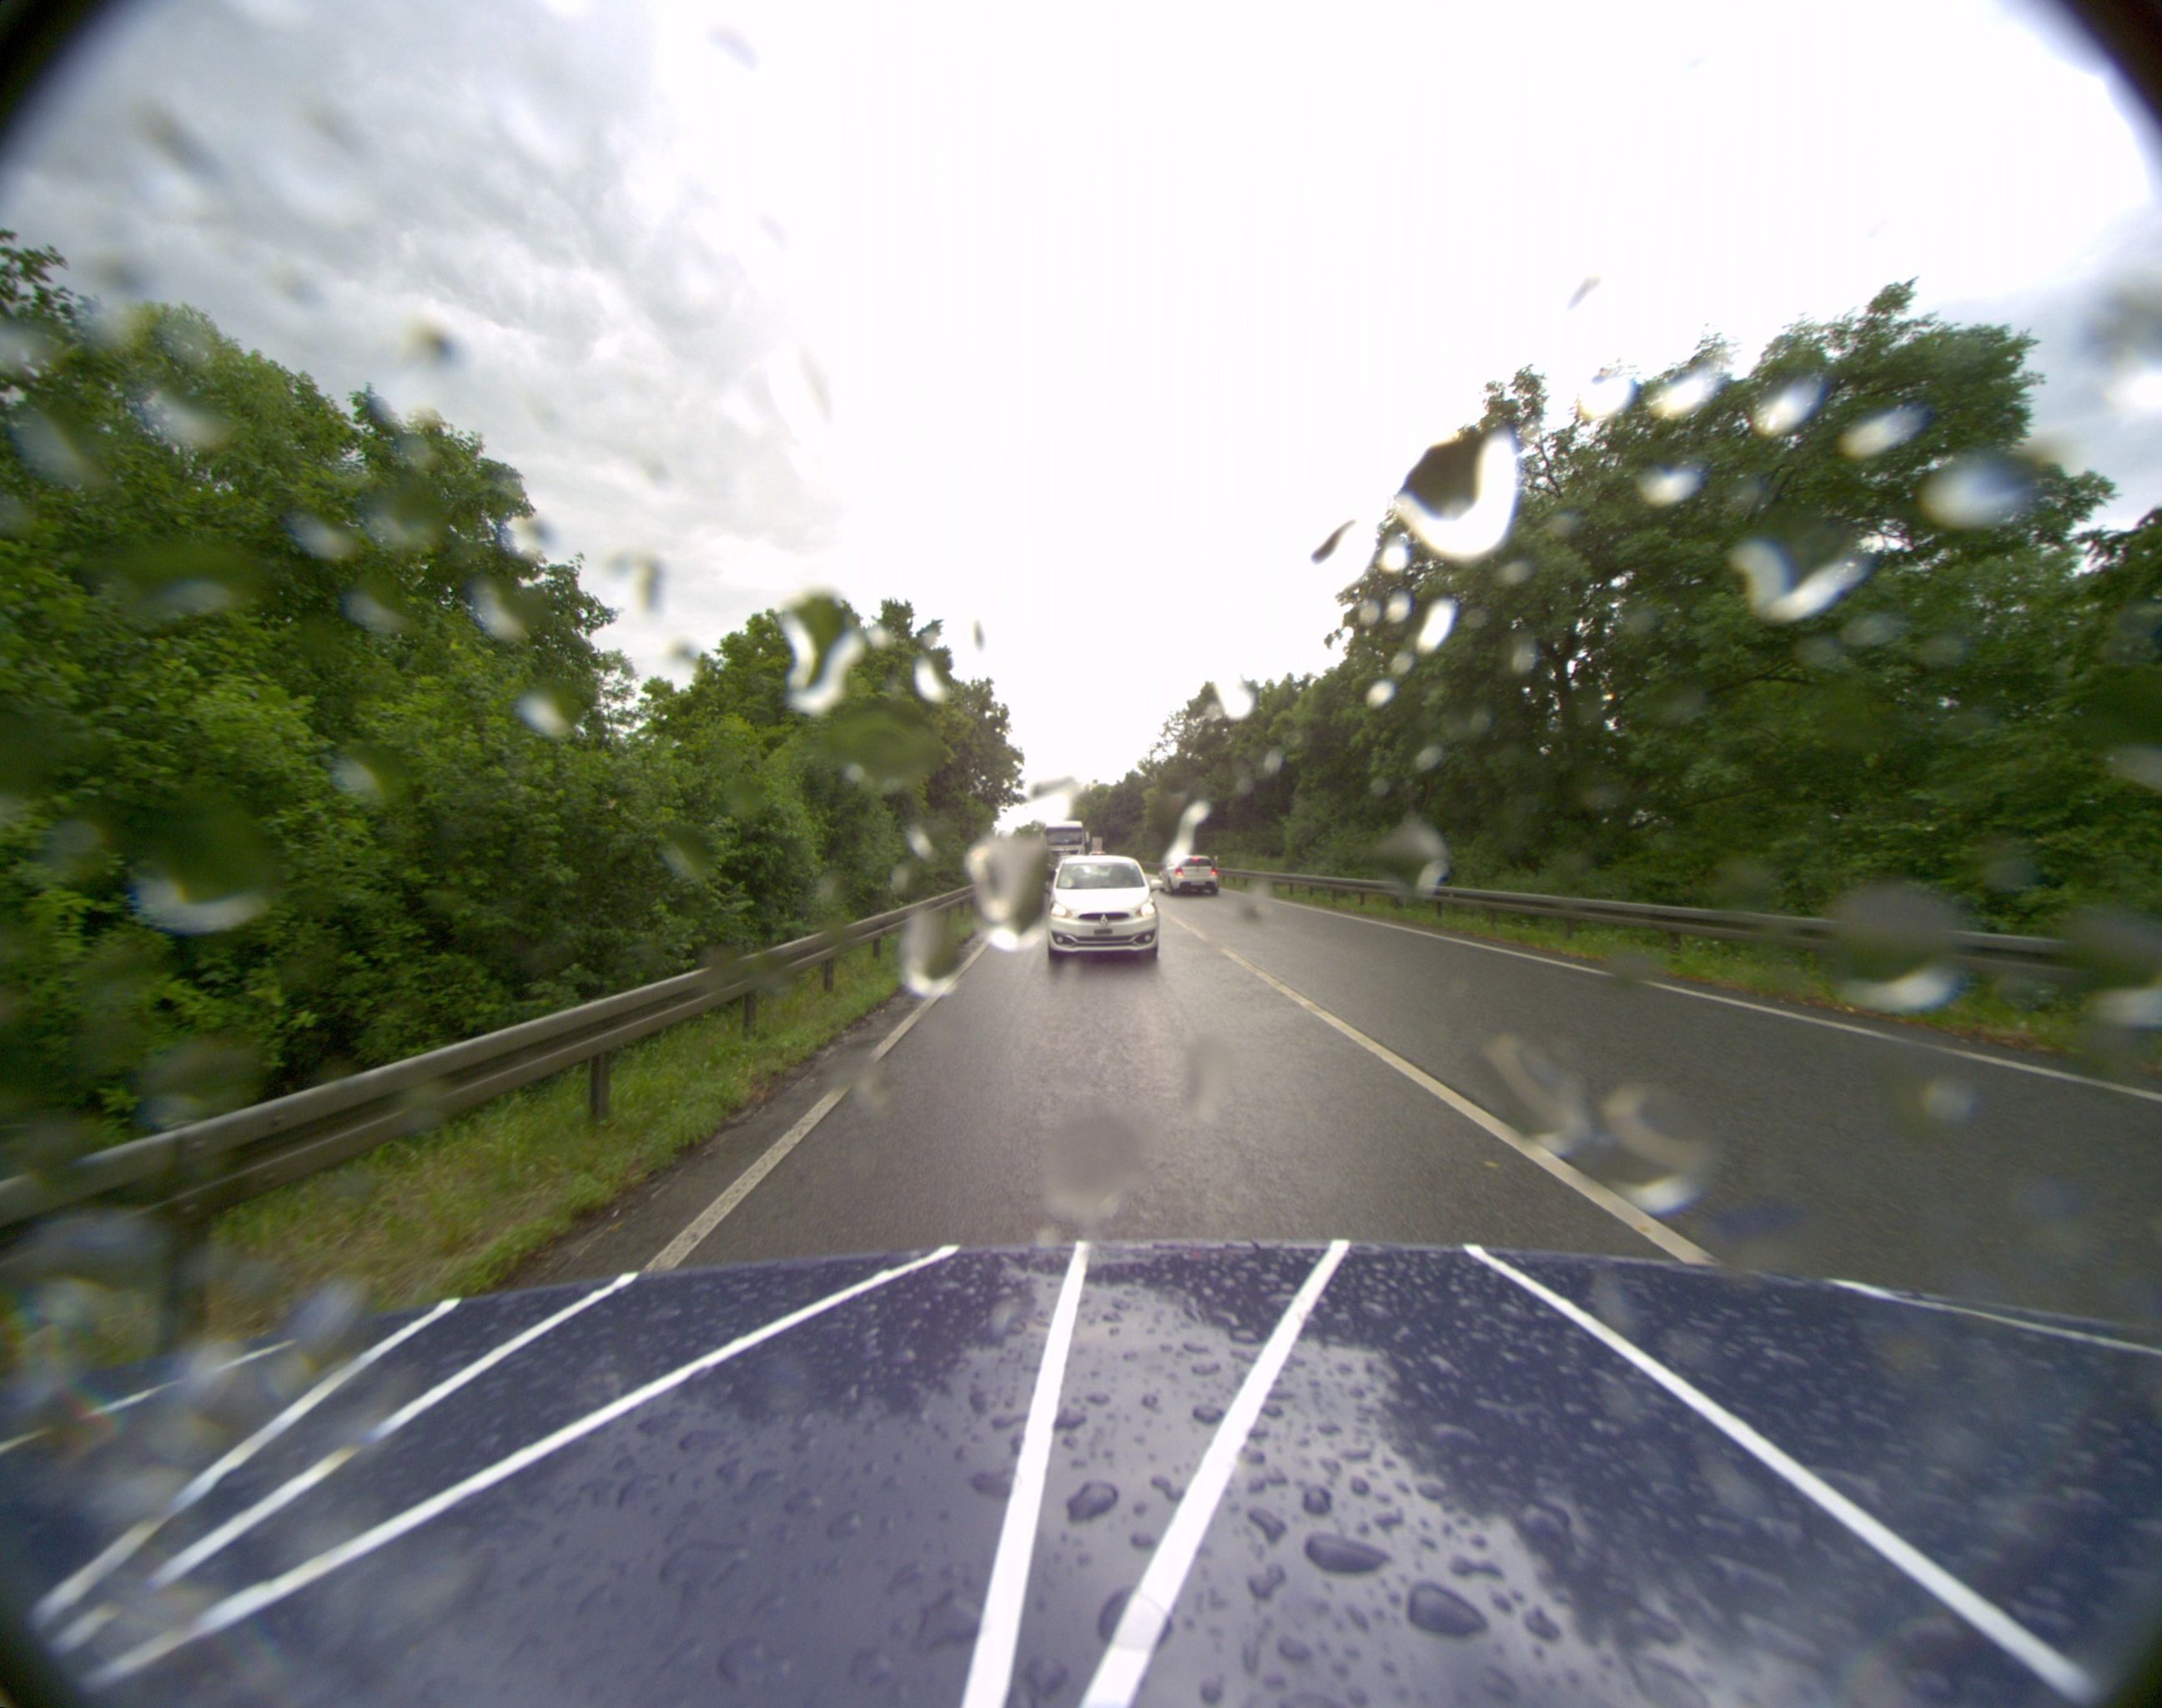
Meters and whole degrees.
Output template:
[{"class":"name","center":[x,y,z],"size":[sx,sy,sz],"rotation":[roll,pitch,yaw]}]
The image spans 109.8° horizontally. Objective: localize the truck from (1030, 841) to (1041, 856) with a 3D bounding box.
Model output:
[{"class":"truck","center":[-8.990,-1.029,149.341],"size":[1.480,2.860,5.681],"rotation":[-2,0,-9]}]

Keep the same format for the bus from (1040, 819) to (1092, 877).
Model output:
[{"class":"bus","center":[-1.148,-0.409,52.346],"size":[3.064,3.405,13.636],"rotation":[-1,0,-2]}]

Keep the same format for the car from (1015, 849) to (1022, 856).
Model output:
[{"class":"car","center":[-15.832,-0.374,191.169],"size":[1.535,1.459,3.072],"rotation":[-2,0,-9]}]

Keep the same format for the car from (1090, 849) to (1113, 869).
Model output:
[{"class":"car","center":[1.771,0.430,67.015],"size":[1.801,1.650,4.081],"rotation":[-1,0,-2]}]

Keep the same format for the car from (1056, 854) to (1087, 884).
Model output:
[{"class":"car","center":[-0.512,0.741,38.296],"size":[1.476,1.410,3.428],"rotation":[-1,0,-2]}]

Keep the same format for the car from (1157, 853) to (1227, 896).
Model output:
[{"class":"car","center":[4.005,0.700,28.093],"size":[1.819,1.445,4.046],"rotation":[-1,0,-2]}]

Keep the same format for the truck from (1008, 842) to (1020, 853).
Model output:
[{"class":"truck","center":[-18.436,-1.839,208.648],"size":[2.433,2.982,6.938],"rotation":[-2,1,-10]}]

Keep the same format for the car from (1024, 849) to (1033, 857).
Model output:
[{"class":"car","center":[-11.156,-0.203,161.944],"size":[1.535,1.459,3.072],"rotation":[-2,0,-9]}]

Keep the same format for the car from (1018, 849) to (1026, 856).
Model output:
[{"class":"car","center":[-14.019,-0.314,180.450],"size":[1.535,1.459,3.072],"rotation":[-2,0,-9]}]

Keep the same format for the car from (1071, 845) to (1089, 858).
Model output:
[{"class":"car","center":[-0.119,-0.304,85.057],"size":[1.886,1.412,3.999],"rotation":[-1,0,-2]}]

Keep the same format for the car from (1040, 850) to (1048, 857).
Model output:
[{"class":"car","center":[-6.352,-0.059,131.104],"size":[1.145,1.123,2.550],"rotation":[-2,0,-9]}]

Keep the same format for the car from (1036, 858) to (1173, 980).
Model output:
[{"class":"car","center":[0.207,0.835,11.677],"size":[1.701,1.471,4.062],"rotation":[-1,0,-3]}]
